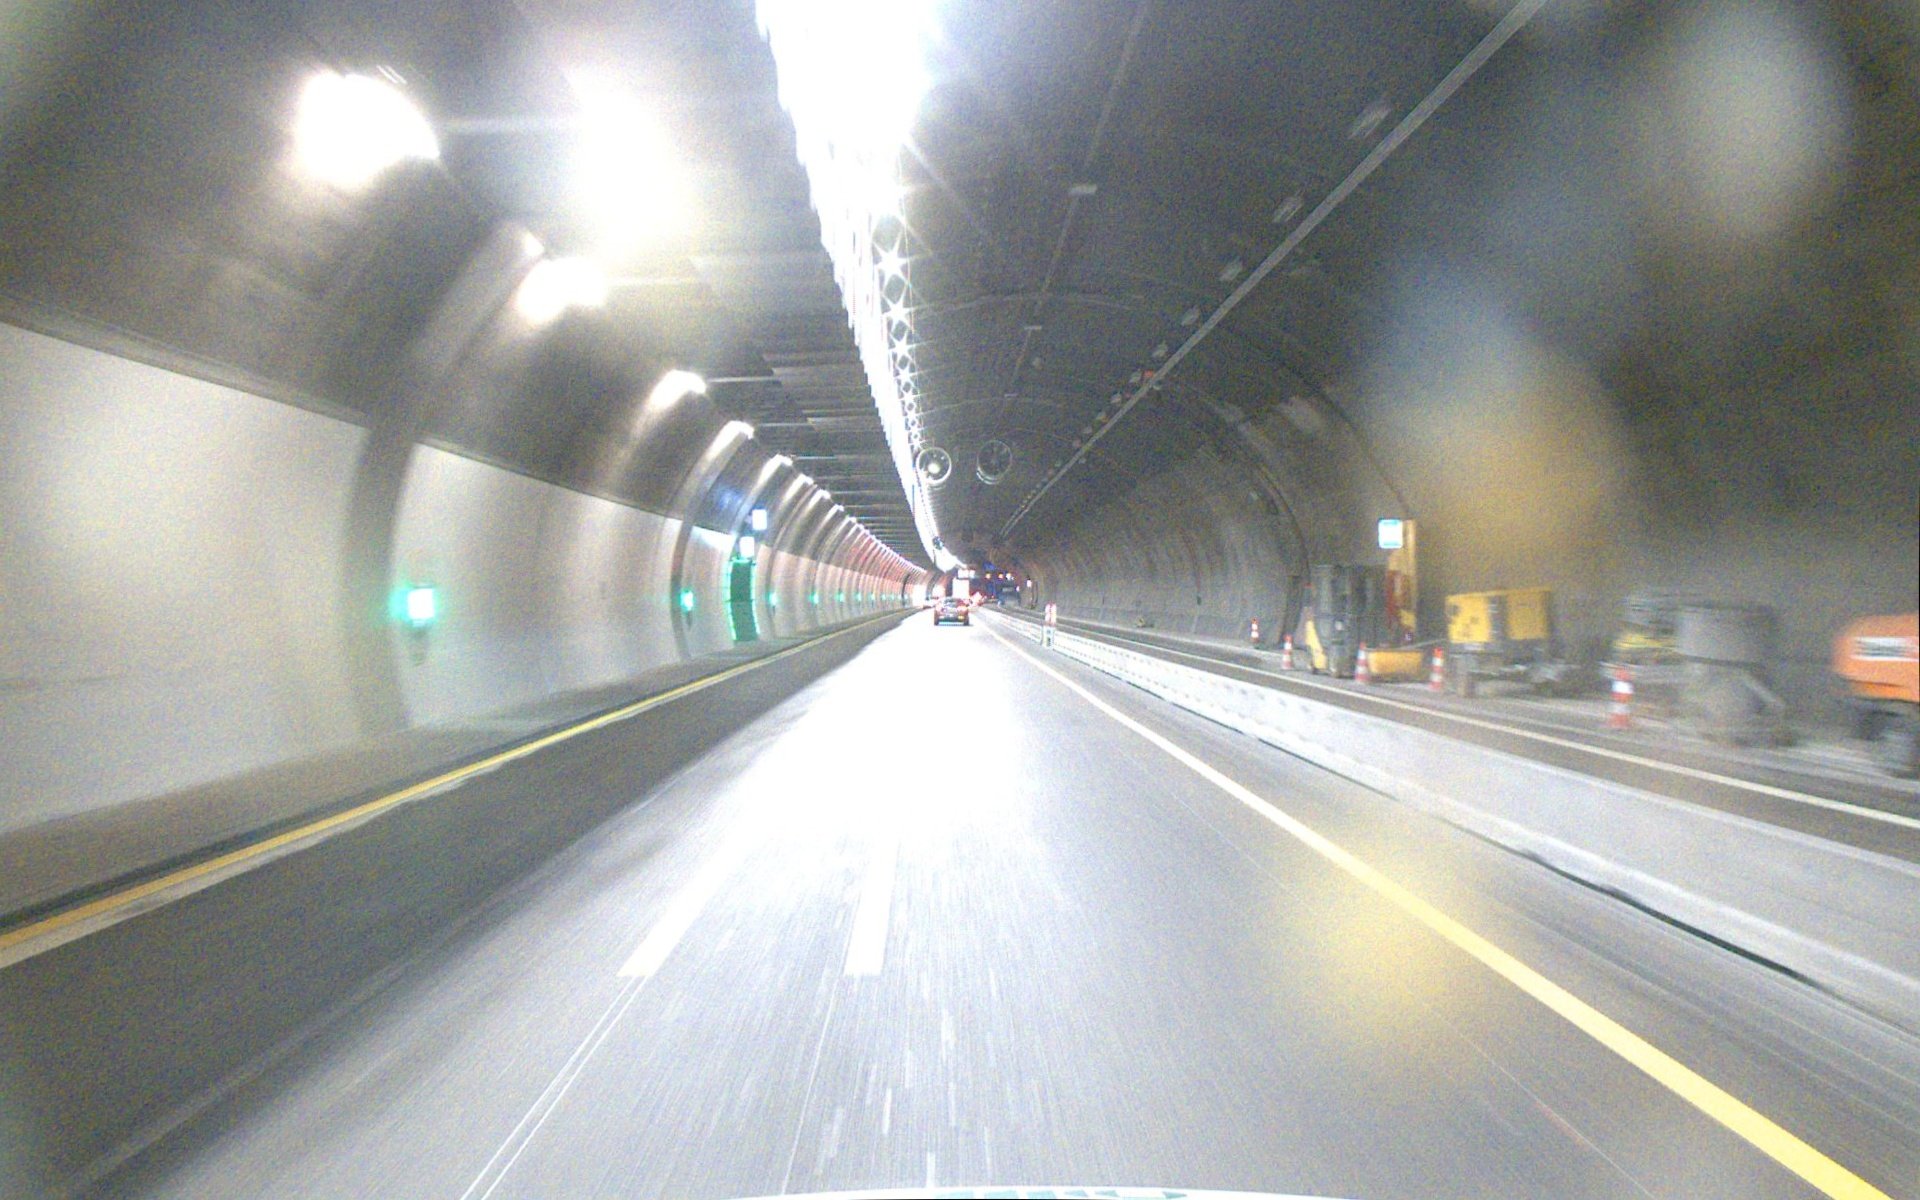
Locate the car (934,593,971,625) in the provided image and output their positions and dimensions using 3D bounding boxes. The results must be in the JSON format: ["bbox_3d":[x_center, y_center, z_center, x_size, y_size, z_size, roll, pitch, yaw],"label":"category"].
[{"bbox_3d":[-0.420,0.489,86.963,1.849,1.635,3.999,0,0,-1],"label":"car"}]

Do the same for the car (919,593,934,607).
[{"bbox_3d":[-4.063,-0.011,199.291,1.790,1.635,3.999,0,0,-1],"label":"car"}]

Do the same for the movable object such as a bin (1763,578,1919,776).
[{"bbox_3d":[8.768,0.643,15.078,1.277,1.621,3.054,-4,1,-1],"label":"movable object such as a bin"}]

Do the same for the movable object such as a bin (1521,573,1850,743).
[{"bbox_3d":[8.512,0.595,19.896,1.823,1.704,4.501,-4,1,-1],"label":"movable object such as a bin"}]

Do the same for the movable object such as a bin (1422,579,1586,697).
[{"bbox_3d":[8.516,0.576,26.120,1.524,1.739,3.054,0,0,-1],"label":"movable object such as a bin"}]

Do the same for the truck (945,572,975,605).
[{"bbox_3d":[0.102,-1.727,261.365,4.452,5.074,9.600,0,0,1],"label":"truck"}]

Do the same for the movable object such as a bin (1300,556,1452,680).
[{"bbox_3d":[7.822,0.321,31.547,1.649,2.183,4.626,0,0,-1],"label":"movable object such as a bin"}]
